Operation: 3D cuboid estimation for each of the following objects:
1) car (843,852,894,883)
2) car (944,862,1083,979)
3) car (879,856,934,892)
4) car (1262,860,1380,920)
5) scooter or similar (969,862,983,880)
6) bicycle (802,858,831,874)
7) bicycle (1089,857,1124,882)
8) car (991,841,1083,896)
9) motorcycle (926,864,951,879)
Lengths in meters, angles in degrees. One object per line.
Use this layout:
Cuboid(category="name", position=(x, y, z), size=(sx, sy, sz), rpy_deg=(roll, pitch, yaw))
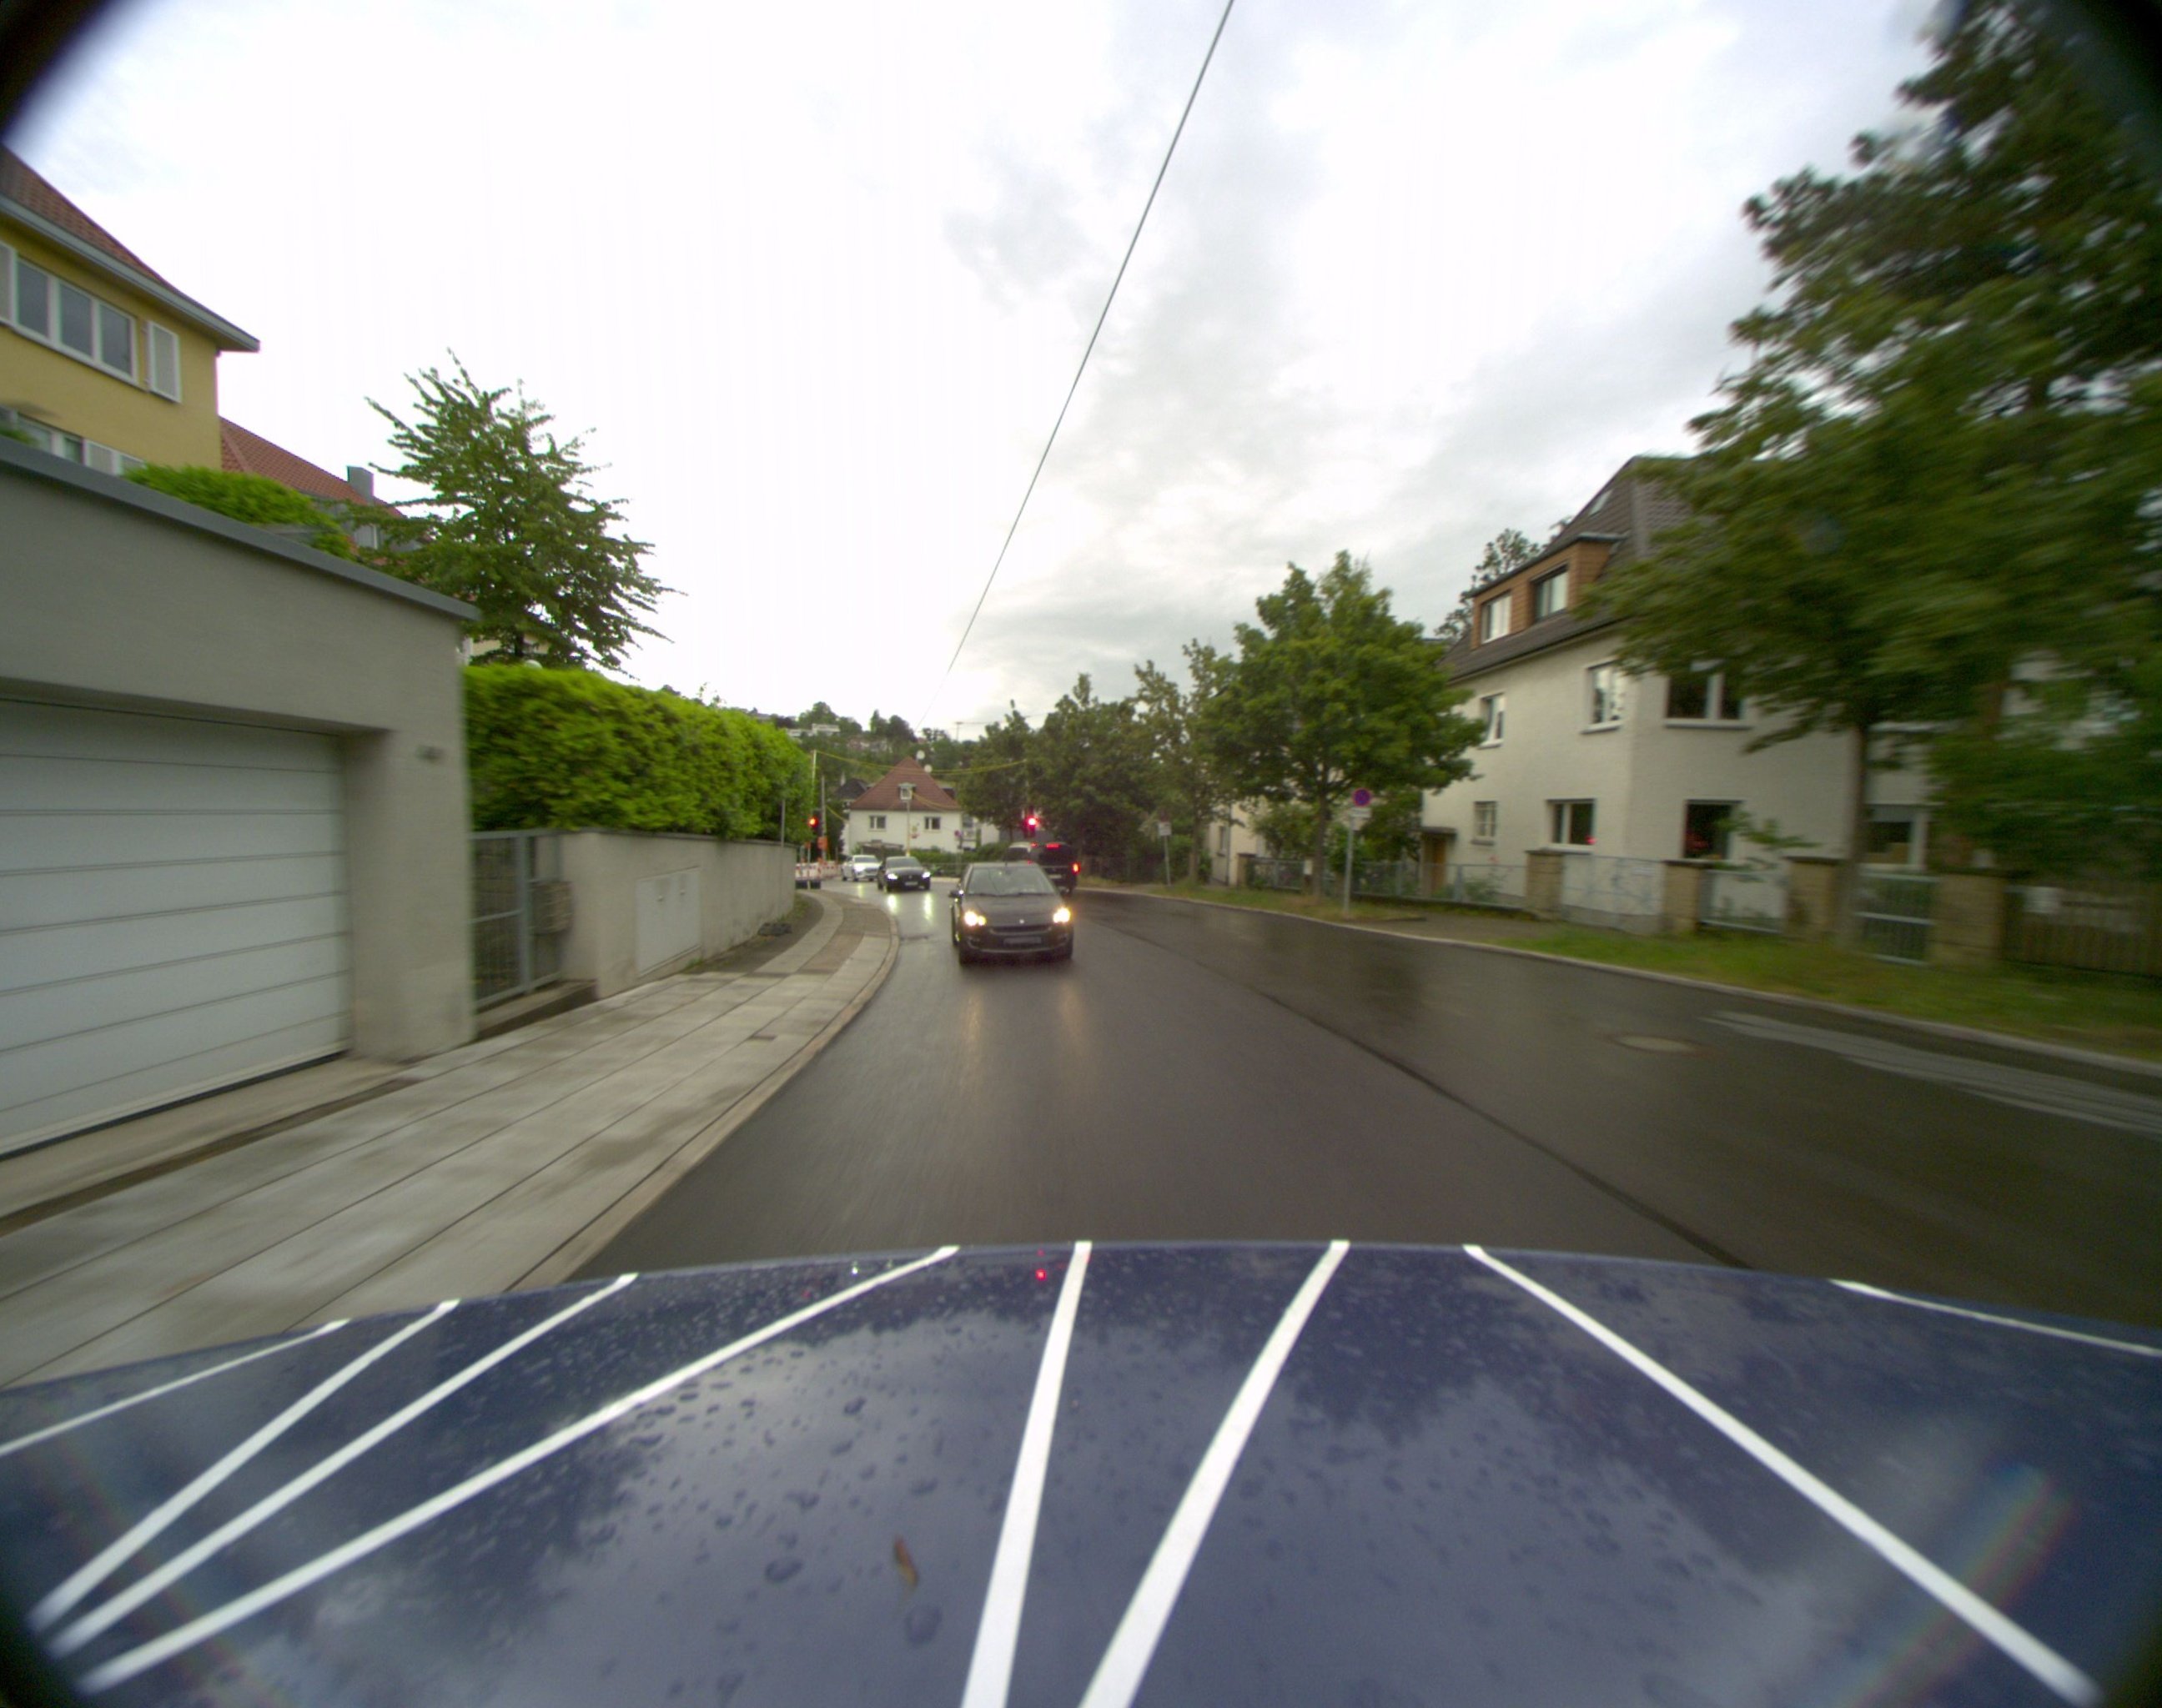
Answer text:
Cuboid(category="car", position=(-13.094, 0.804, 46.638), size=(2.005, 1.699, 4.562), rpy_deg=(1, 0, -29))
Cuboid(category="car", position=(-1.314, 0.927, 12.612), size=(1.676, 1.457, 4.710), rpy_deg=(1, 0, -12))
Cuboid(category="car", position=(-7.673, 0.844, 33.174), size=(1.846, 1.395, 4.064), rpy_deg=(1, 0, -20))
Cuboid(category="car", position=(9.703, 1.430, 30.954), size=(3.996, 1.576, 1.855), rpy_deg=(11, 1, 2))
Cuboid(category="scooter or similar", position=(-6.425, 1.039, 46.506), size=(0.325, 1.074, 1.092), rpy_deg=(2, -1, -40))
Cuboid(category="bicycle", position=(-22.896, 1.057, 65.773), size=(2.241, 1.353, 0.807), rpy_deg=(2, 0, -44))
Cuboid(category="bicycle", position=(1.304, 0.785, 38.965), size=(0.493, 1.264, 2.267), rpy_deg=(-3, 1, -35))
Cuboid(category="car", position=(-1.784, 0.493, 28.439), size=(1.905, 1.878, 5.143), rpy_deg=(1, 0, -21))
Cuboid(category="motorcycle", position=(-9.529, 1.164, 50.760), size=(0.670, 0.928, 2.004), rpy_deg=(1, -1, -41))
